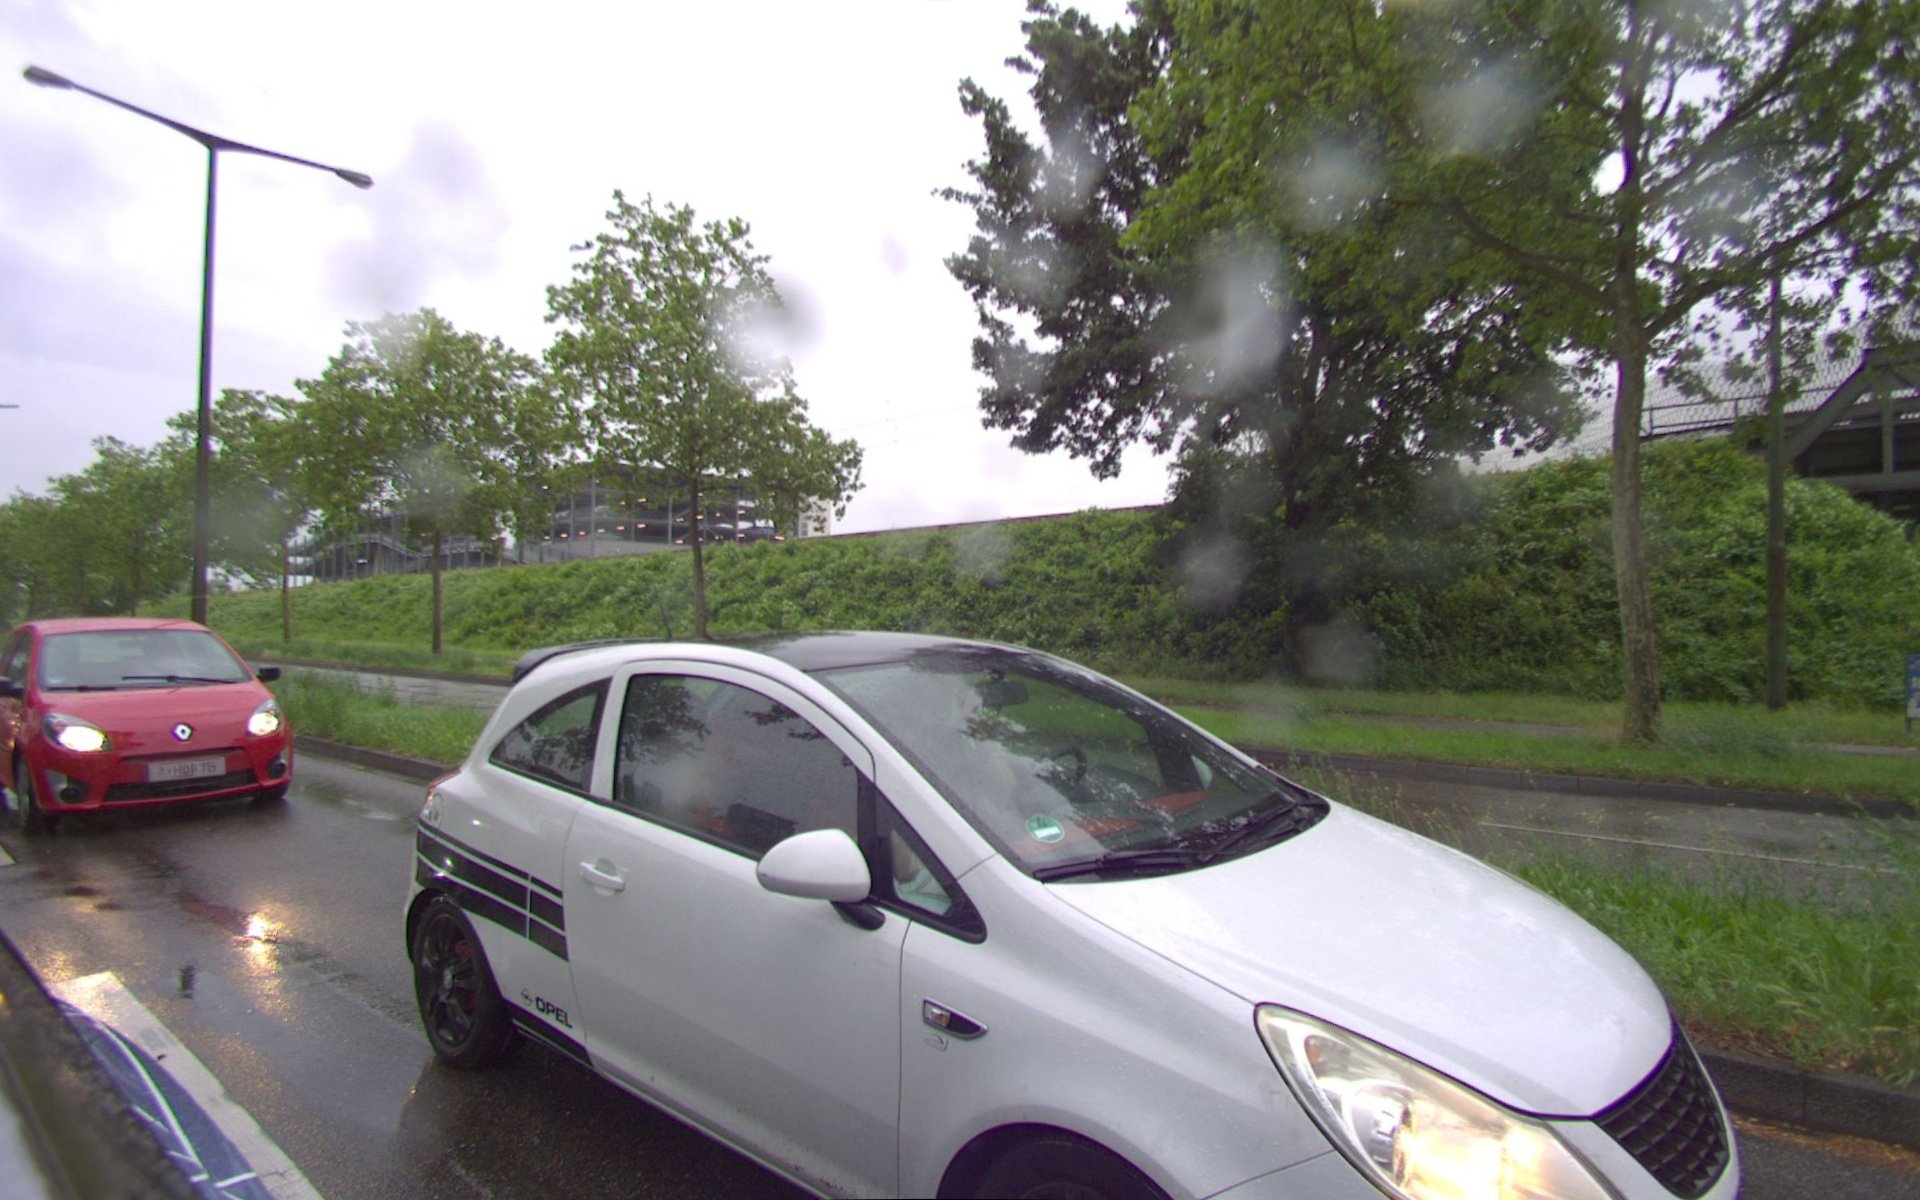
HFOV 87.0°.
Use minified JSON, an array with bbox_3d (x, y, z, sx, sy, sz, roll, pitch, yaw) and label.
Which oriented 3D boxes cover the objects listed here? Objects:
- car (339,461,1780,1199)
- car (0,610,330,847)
[{"bbox_3d":[-0.159,0.576,3.004,4.007,1.387,1.662,-1,-1,40],"label":"car"},{"bbox_3d":[-6.951,0.863,8.410,4.088,1.476,1.702,-1,-1,40],"label":"car"}]
